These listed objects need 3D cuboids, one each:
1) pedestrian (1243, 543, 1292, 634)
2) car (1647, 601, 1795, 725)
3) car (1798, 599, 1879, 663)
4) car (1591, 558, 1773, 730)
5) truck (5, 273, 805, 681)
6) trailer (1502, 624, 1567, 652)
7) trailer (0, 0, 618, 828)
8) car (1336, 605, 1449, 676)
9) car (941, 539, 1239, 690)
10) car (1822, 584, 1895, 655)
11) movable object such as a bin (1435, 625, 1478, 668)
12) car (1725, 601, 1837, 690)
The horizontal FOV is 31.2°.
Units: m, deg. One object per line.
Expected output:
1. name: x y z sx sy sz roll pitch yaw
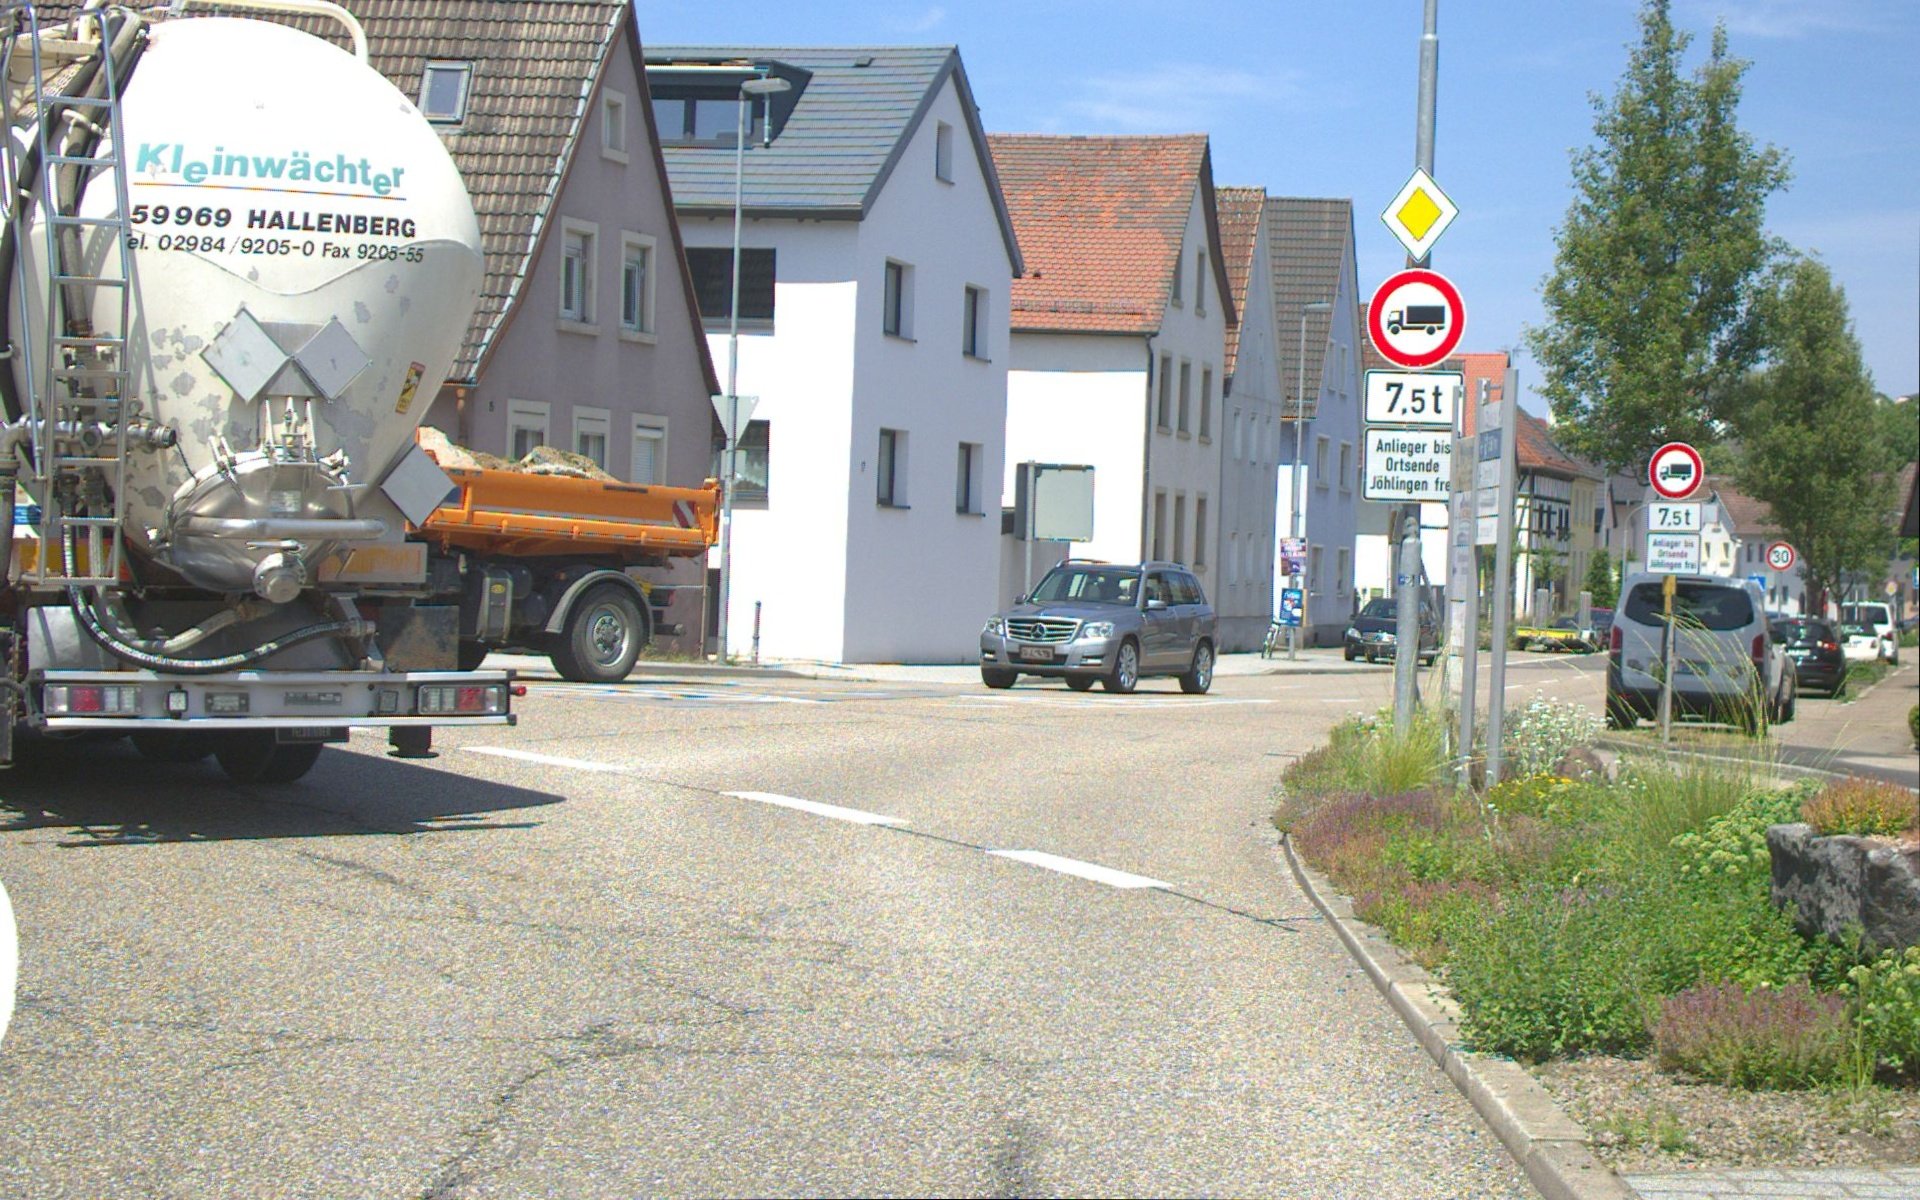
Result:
1. pedestrian: 6.991 -0.258 78.129 0.770 2.007 0.975 3 1 22
2. car: 11.077 0.880 49.848 1.818 1.629 4.204 3 0 15
3. car: 23.846 0.822 93.354 1.995 1.579 3.997 3 1 14
4. car: 8.987 0.575 42.570 1.995 1.906 4.321 3 -1 13
5. truck: -4.920 -0.989 32.065 2.667 3.170 7.446 2 -1 37
6. trailer: 18.703 1.224 111.983 1.951 0.775 2.719 3 0 7
7. trailer: -6.135 -1.201 20.136 2.952 3.934 11.619 3 1 -33
8. car: 10.615 0.989 84.092 1.719 1.590 3.995 3 1 22
9. car: 1.688 0.213 43.001 1.997 1.669 4.306 3 0 27
10. car: 27.297 0.576 104.474 1.995 1.985 3.997 3 1 14
11. movable object such as a bin: 12.850 1.192 89.009 0.920 1.045 0.942 3 1 17
12. car: 16.085 0.868 67.244 1.995 1.579 3.997 3 1 14
